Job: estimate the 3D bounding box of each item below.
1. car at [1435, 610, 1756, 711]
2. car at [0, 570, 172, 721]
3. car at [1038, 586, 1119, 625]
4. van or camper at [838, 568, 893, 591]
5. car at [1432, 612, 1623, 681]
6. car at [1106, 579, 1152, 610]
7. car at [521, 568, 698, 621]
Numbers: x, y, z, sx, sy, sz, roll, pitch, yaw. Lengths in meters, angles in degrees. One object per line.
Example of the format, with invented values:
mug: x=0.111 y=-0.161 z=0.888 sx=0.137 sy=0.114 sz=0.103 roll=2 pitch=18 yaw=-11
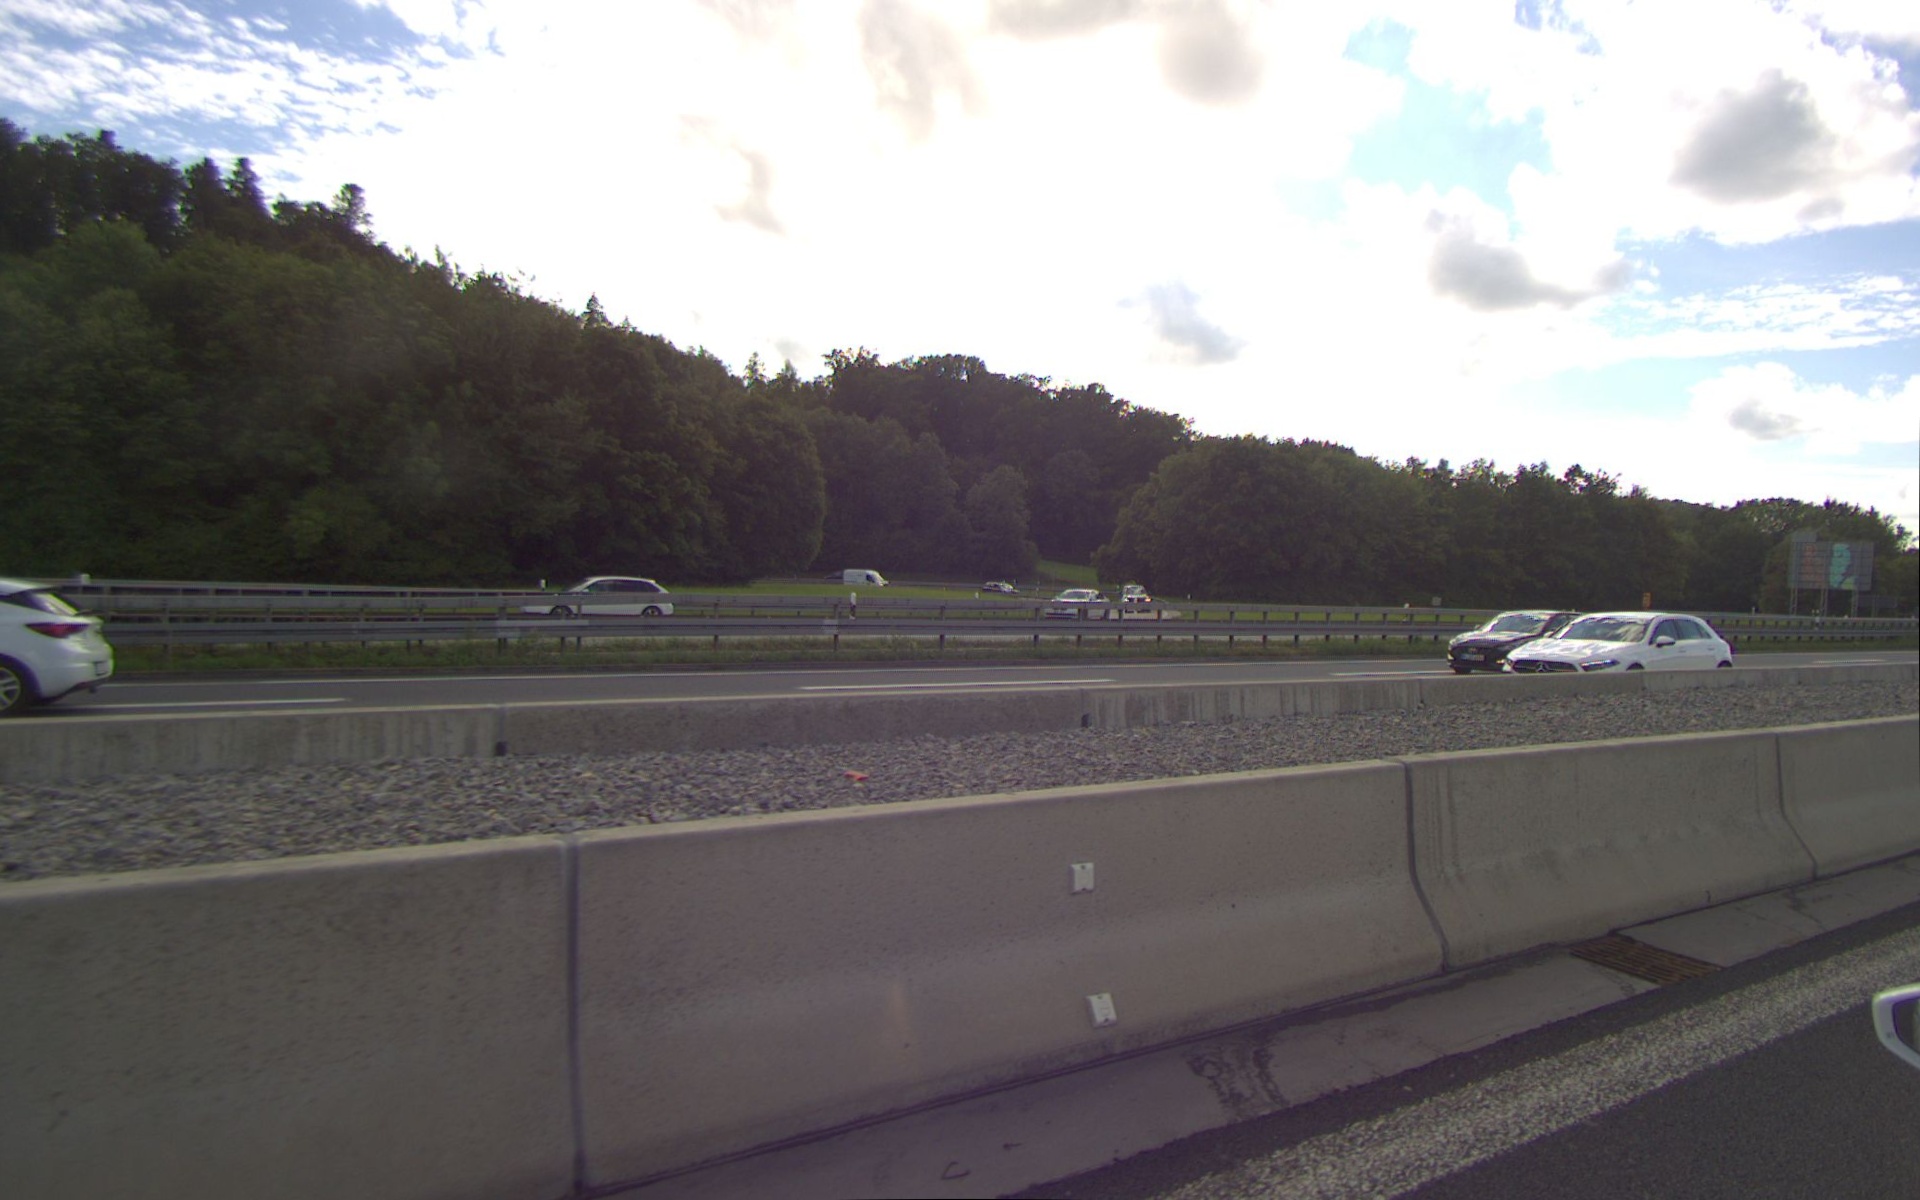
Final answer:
car: x=10.251 y=0.894 z=16.080 sx=5.542 sy=1.355 sz=2.036 roll=1 pitch=0 yaw=-30
car: x=-10.757 y=0.394 z=9.819 sx=4.523 sy=1.449 sz=1.877 roll=1 pitch=0 yaw=-30
car: x=5.653 y=0.243 z=47.305 sx=1.907 sy=1.694 sz=5.214 roll=2 pitch=1 yaw=29
van or camper: x=-10.244 y=-2.252 z=108.548 sx=5.629 sy=2.279 sz=2.102 roll=2 pitch=1 yaw=29
car: x=12.655 y=0.999 z=22.365 sx=4.180 sy=1.355 sz=1.859 roll=1 pitch=0 yaw=-30
car: x=10.740 y=-0.375 z=64.261 sx=2.353 sy=1.795 sz=5.245 roll=2 pitch=1 yaw=4
car: x=-10.225 y=-0.137 z=29.481 sx=4.585 sy=1.450 sz=1.768 roll=1 pitch=1 yaw=-39
